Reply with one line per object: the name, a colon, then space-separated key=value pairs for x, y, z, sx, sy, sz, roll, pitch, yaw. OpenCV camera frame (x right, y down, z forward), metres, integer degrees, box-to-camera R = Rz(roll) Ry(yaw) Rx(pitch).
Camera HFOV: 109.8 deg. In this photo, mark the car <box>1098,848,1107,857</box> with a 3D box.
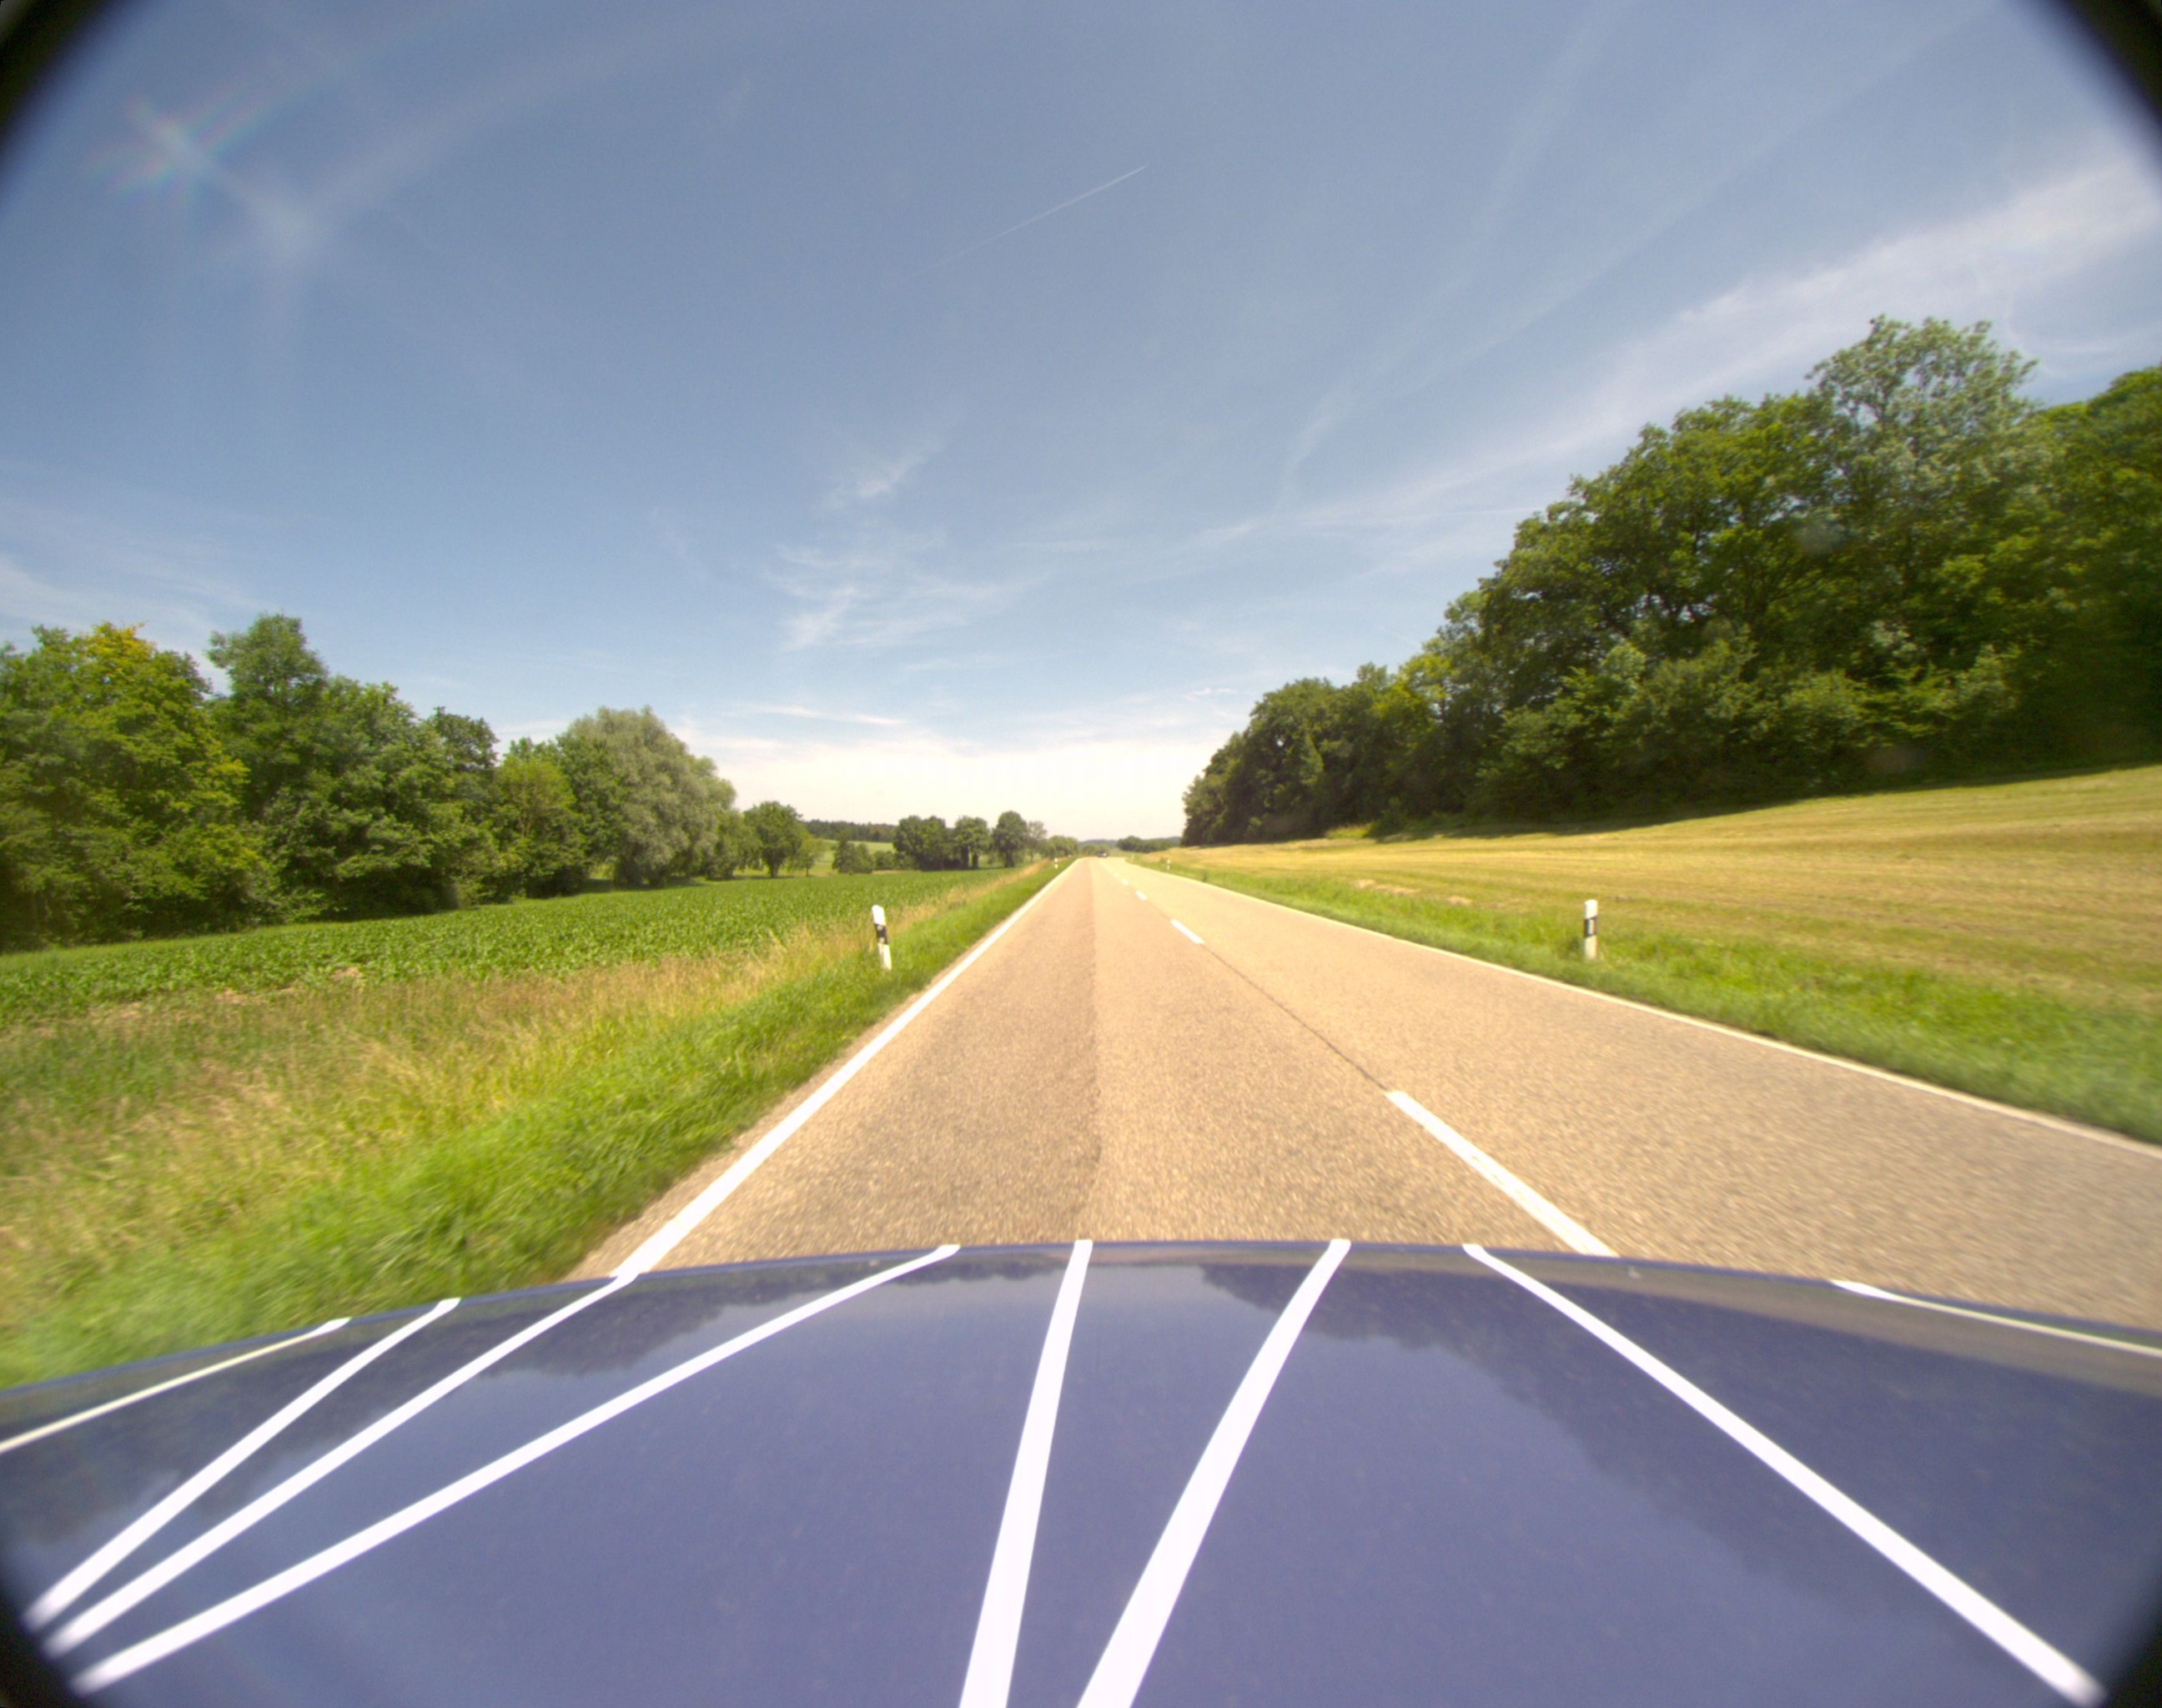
car: x=4.525 y=-0.315 z=159.754 sx=1.815 sy=1.569 sz=4.156 roll=-1 pitch=-3 yaw=1
